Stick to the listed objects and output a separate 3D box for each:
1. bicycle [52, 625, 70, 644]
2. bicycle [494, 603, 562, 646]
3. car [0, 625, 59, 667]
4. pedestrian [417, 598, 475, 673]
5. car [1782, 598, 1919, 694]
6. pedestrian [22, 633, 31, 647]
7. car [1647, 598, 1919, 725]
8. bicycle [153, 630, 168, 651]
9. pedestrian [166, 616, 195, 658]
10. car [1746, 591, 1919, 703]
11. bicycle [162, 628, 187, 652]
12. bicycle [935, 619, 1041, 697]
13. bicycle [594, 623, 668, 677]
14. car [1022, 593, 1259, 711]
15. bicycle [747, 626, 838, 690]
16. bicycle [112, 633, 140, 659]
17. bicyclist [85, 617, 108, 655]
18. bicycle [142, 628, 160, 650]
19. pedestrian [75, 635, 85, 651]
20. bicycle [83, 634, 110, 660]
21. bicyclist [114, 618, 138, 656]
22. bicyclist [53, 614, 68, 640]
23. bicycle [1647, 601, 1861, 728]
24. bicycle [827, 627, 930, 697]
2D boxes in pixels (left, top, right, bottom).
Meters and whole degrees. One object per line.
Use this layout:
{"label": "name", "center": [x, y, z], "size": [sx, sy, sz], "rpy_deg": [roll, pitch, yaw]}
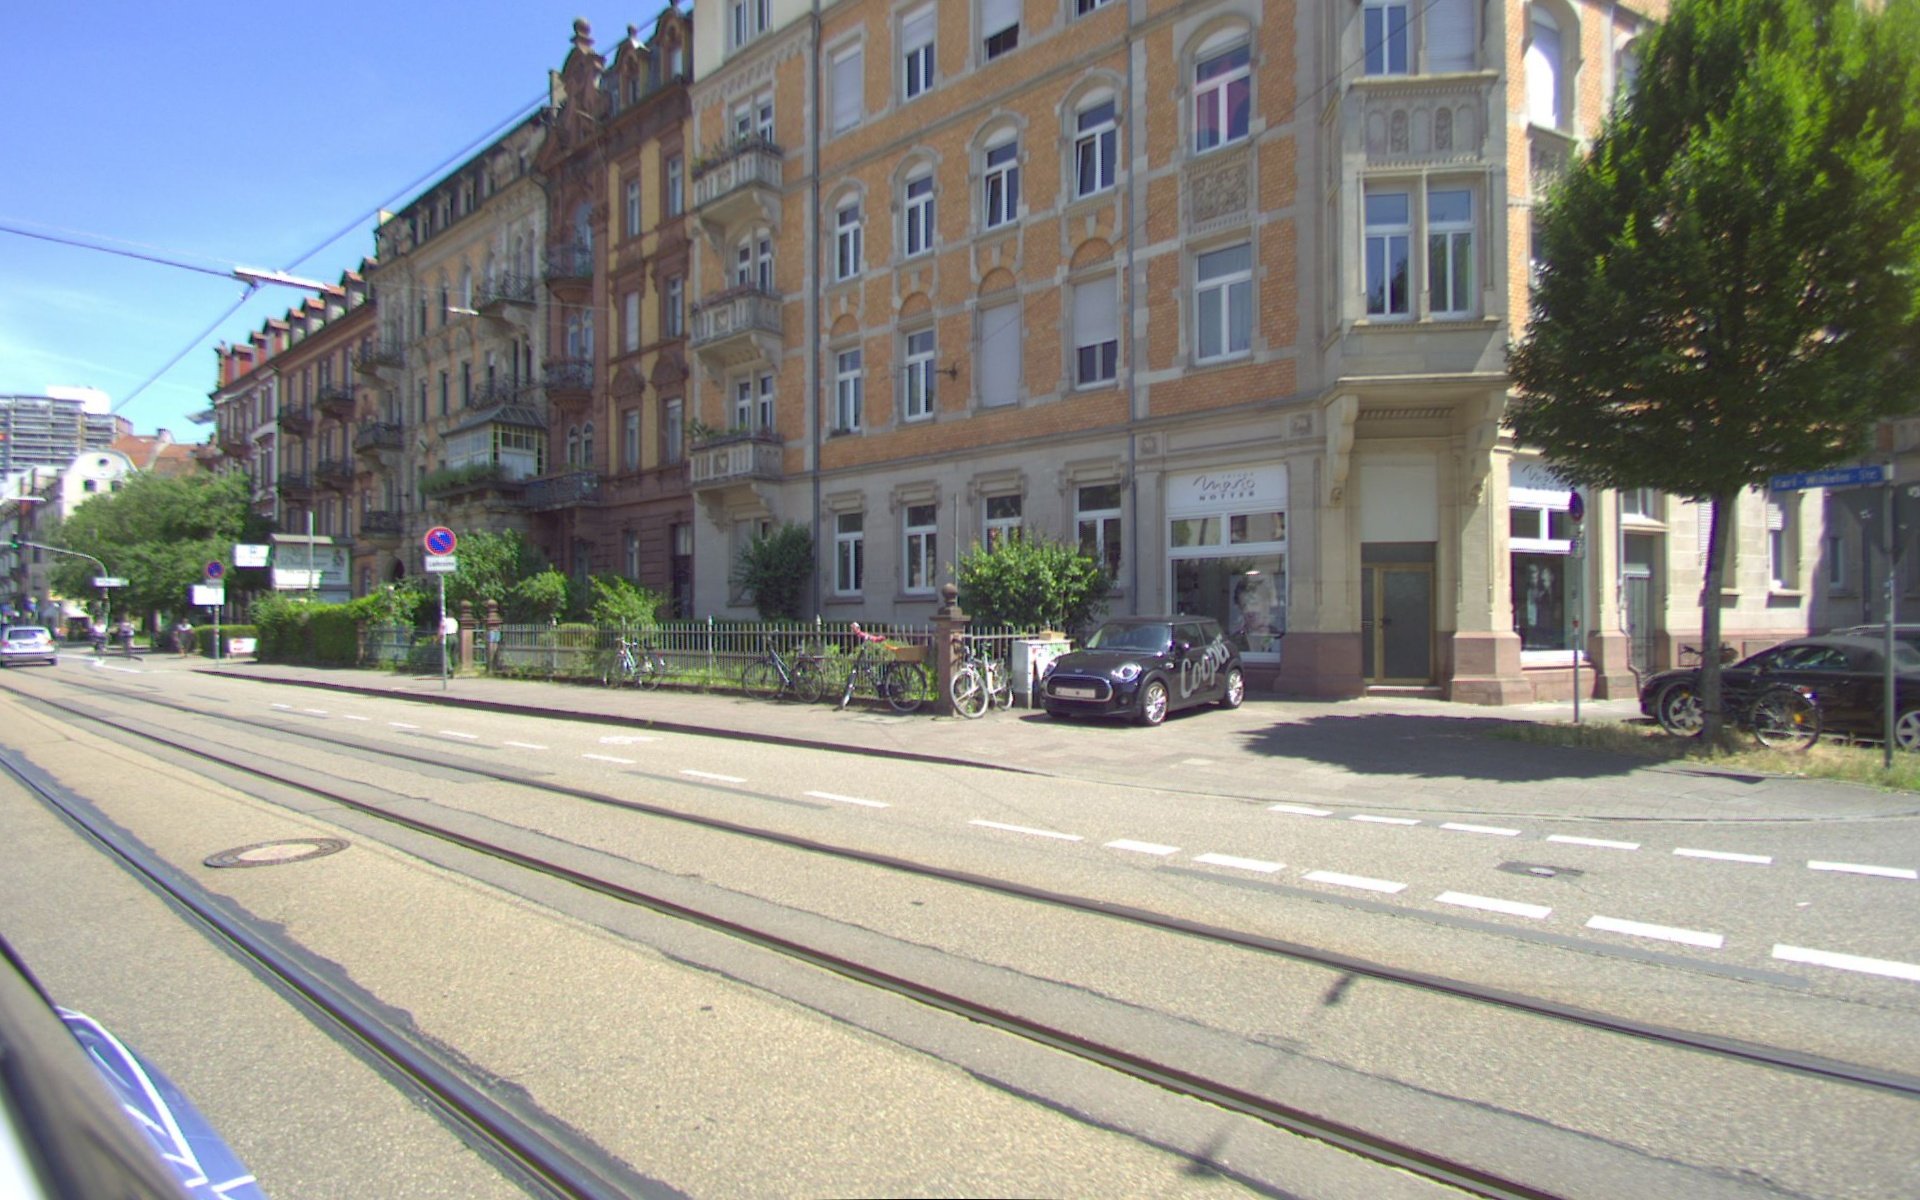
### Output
{"label": "bicycle", "center": [-52.724, 2.015, 59.352], "size": [1.828, 1.046, 0.561], "rpy_deg": [-1, -1, 42]}
{"label": "bicycle", "center": [-10.867, 0.602, 25.492], "size": [0.495, 1.051, 1.494], "rpy_deg": [-1, 0, 42]}
{"label": "car", "center": [-35.213, 1.685, 37.989], "size": [3.999, 1.460, 1.667], "rpy_deg": [-2, -1, 42]}
{"label": "pedestrian", "center": [-12.615, 0.859, 24.838], "size": [1.138, 1.735, 0.842], "rpy_deg": [-1, 2, 42]}
{"label": "car", "center": [15.306, 0.713, 14.760], "size": [1.716, 1.375, 4.841], "rpy_deg": [0, 2, -28]}
{"label": "pedestrian", "center": [-97.457, 4.182, 105.671], "size": [0.519, 1.452, 0.531], "rpy_deg": [-1, -1, 31]}
{"label": "car", "center": [11.032, 0.697, 12.582], "size": [1.603, 1.349, 3.784], "rpy_deg": [0, 2, -28]}
{"label": "bicycle", "center": [-42.425, 2.138, 53.696], "size": [1.565, 1.064, 0.454], "rpy_deg": [-1, 0, 45]}
{"label": "pedestrian", "center": [-33.023, 1.562, 42.875], "size": [0.861, 1.713, 1.014], "rpy_deg": [-1, 0, -43]}
{"label": "car", "center": [13.363, 0.635, 13.845], "size": [1.603, 1.450, 3.784], "rpy_deg": [0, 2, -28]}
{"label": "bicycle", "center": [-37.276, 1.881, 48.038], "size": [1.932, 1.101, 0.631], "rpy_deg": [-1, 2, 45]}
{"label": "bicycle", "center": [0.442, 0.834, 15.040], "size": [1.685, 1.044, 0.551], "rpy_deg": [-1, 0, -45]}
{"label": "bicycle", "center": [-6.552, 0.979, 20.118], "size": [1.709, 0.994, 0.492], "rpy_deg": [-1, 4, 40]}
{"label": "car", "center": [2.722, 0.638, 14.689], "size": [1.713, 1.439, 3.720], "rpy_deg": [0, 1, 41]}
{"label": "bicycle", "center": [-2.770, 0.934, 16.630], "size": [1.709, 0.991, 0.434], "rpy_deg": [-1, 0, 40]}
{"label": "bicycle", "center": [-35.912, 1.967, 43.558], "size": [1.874, 1.086, 0.622], "rpy_deg": [-1, -2, 41]}
{"label": "bicyclist", "center": [-36.502, 1.508, 42.776], "size": [0.951, 1.556, 0.586], "rpy_deg": [-1, -2, 41]}
{"label": "bicycle", "center": [-44.051, 2.119, 55.109], "size": [1.716, 1.177, 0.566], "rpy_deg": [-1, 0, 45]}
{"label": "pedestrian", "center": [-79.288, 3.876, 91.151], "size": [0.519, 1.452, 0.531], "rpy_deg": [-1, -1, 31]}
{"label": "bicycle", "center": [-36.511, 1.982, 42.775], "size": [1.889, 1.086, 0.575], "rpy_deg": [-1, -2, 41]}
{"label": "bicyclist", "center": [-35.949, 1.594, 43.599], "size": [1.028, 1.596, 0.627], "rpy_deg": [-1, -2, 41]}
{"label": "bicyclist", "center": [-52.729, 1.573, 59.352], "size": [0.891, 1.527, 0.556], "rpy_deg": [-1, -1, 42]}
{"label": "bicycle", "center": [8.713, 0.654, 11.207], "size": [0.493, 1.237, 1.856], "rpy_deg": [0, 1, -21]}
{"label": "bicycle", "center": [-1.250, 0.908, 15.268], "size": [1.709, 0.991, 0.434], "rpy_deg": [-1, 0, 40]}
